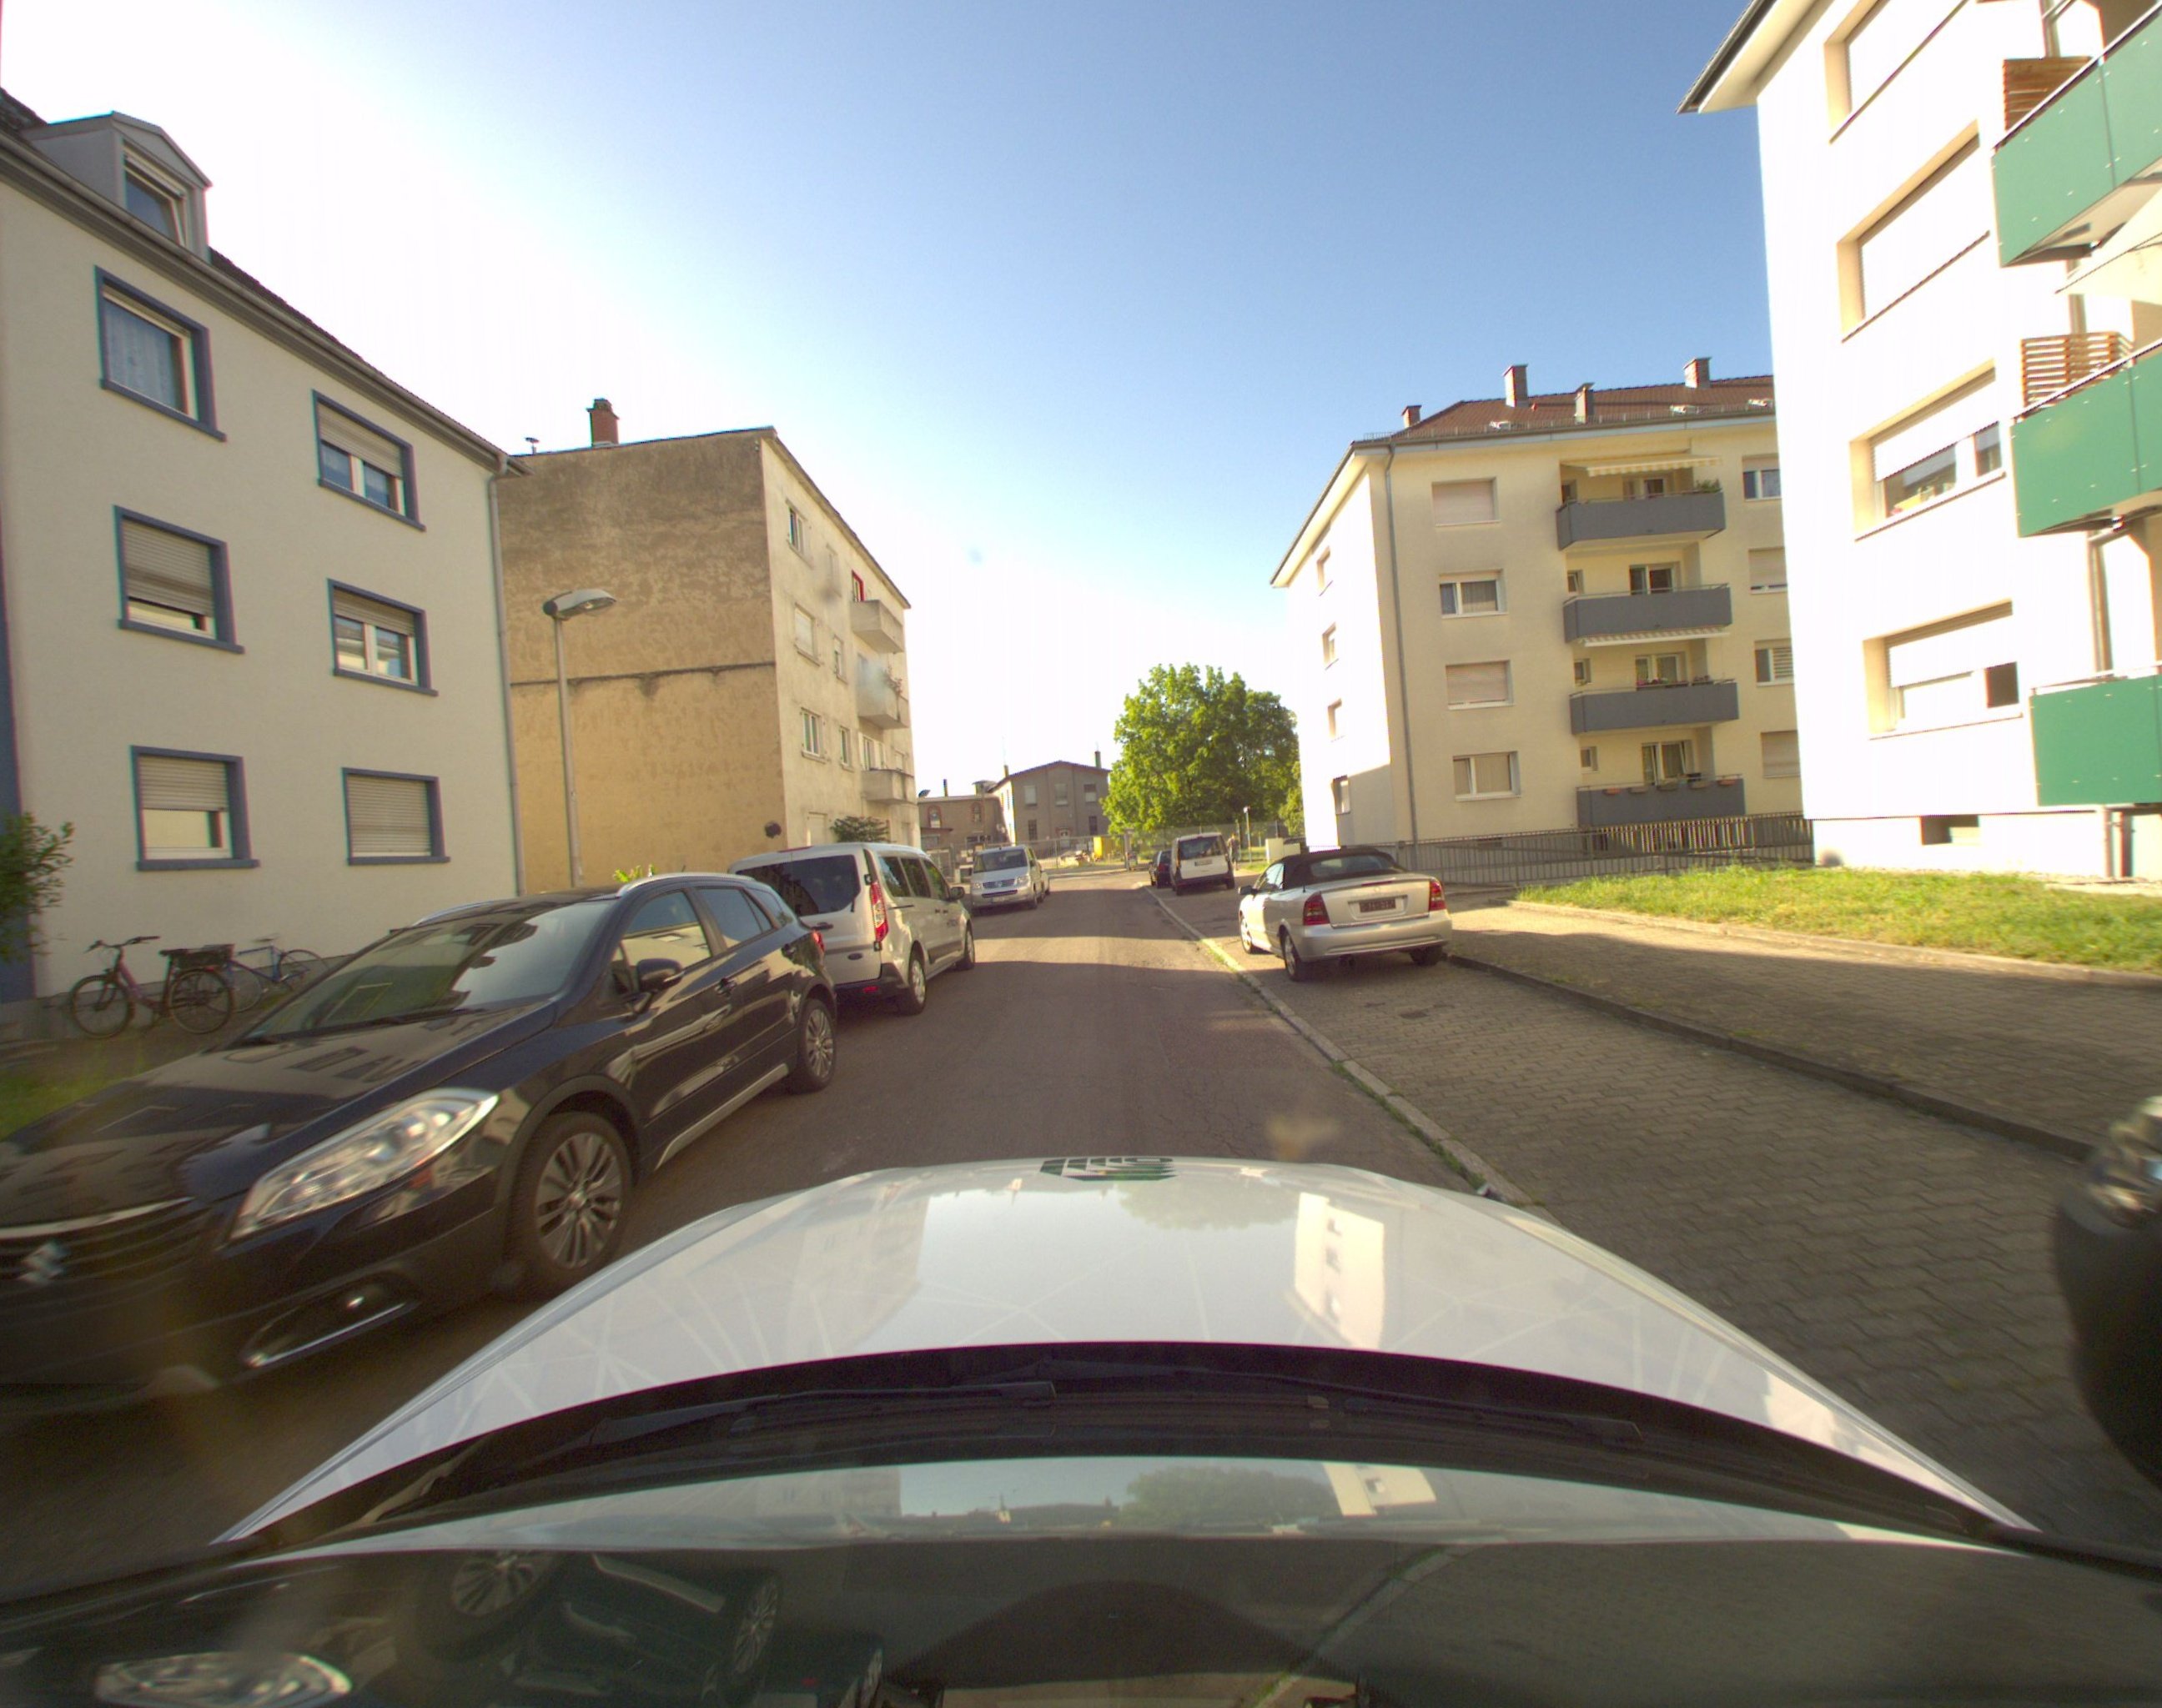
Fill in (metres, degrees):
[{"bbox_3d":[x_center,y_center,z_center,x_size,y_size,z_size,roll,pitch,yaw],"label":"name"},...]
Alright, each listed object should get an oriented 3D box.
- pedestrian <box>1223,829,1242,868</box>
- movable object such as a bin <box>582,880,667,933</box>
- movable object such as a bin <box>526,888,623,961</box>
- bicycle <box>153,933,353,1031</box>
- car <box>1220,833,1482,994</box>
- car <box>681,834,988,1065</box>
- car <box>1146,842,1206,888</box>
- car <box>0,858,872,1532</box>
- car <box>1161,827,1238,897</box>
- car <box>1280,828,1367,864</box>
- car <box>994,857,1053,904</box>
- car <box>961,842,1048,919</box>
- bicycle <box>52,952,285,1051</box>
[{"bbox_3d":[7.181,-0.249,38.479,0.640,1.771,0.845,-5,1,18],"label":"pedestrian"},{"bbox_3d":[-10.253,1.163,18.357,1.125,0.999,1.204,-6,-1,1],"label":"movable object such as a bin"},{"bbox_3d":[-11.398,1.563,18.379,1.125,1.433,1.437,-6,-1,1],"label":"movable object such as a bin"},{"bbox_3d":[-11.057,1.667,11.003,0.497,0.961,2.076,-2,0,2],"label":"bicycle"},{"bbox_3d":[3.072,0.587,10.297,1.737,1.406,4.313,-7,0,0],"label":"car"},{"bbox_3d":[-2.471,0.828,9.702,1.793,1.829,4.951,-8,0,2],"label":"car"},{"bbox_3d":[3.625,0.389,31.730,1.792,1.414,4.049,-8,0,1],"label":"car"},{"bbox_3d":[-2.610,0.955,4.253,1.668,1.590,4.165,-9,0,1],"label":"car"},{"bbox_3d":[3.706,0.219,26.145,1.791,1.845,4.543,-8,0,3],"label":"car"},{"bbox_3d":[12.800,-0.407,43.194,4.059,1.548,1.623,-5,0,-1],"label":"car"},{"bbox_3d":[-2.131,0.948,31.022,1.680,1.458,3.724,-7,0,2],"label":"car"},{"bbox_3d":[-2.254,0.716,25.240,1.944,1.933,4.857,-7,0,1],"label":"car"},{"bbox_3d":[-10.250,1.650,9.179,2.060,0.961,0.501,-2,0,1],"label":"bicycle"}]
